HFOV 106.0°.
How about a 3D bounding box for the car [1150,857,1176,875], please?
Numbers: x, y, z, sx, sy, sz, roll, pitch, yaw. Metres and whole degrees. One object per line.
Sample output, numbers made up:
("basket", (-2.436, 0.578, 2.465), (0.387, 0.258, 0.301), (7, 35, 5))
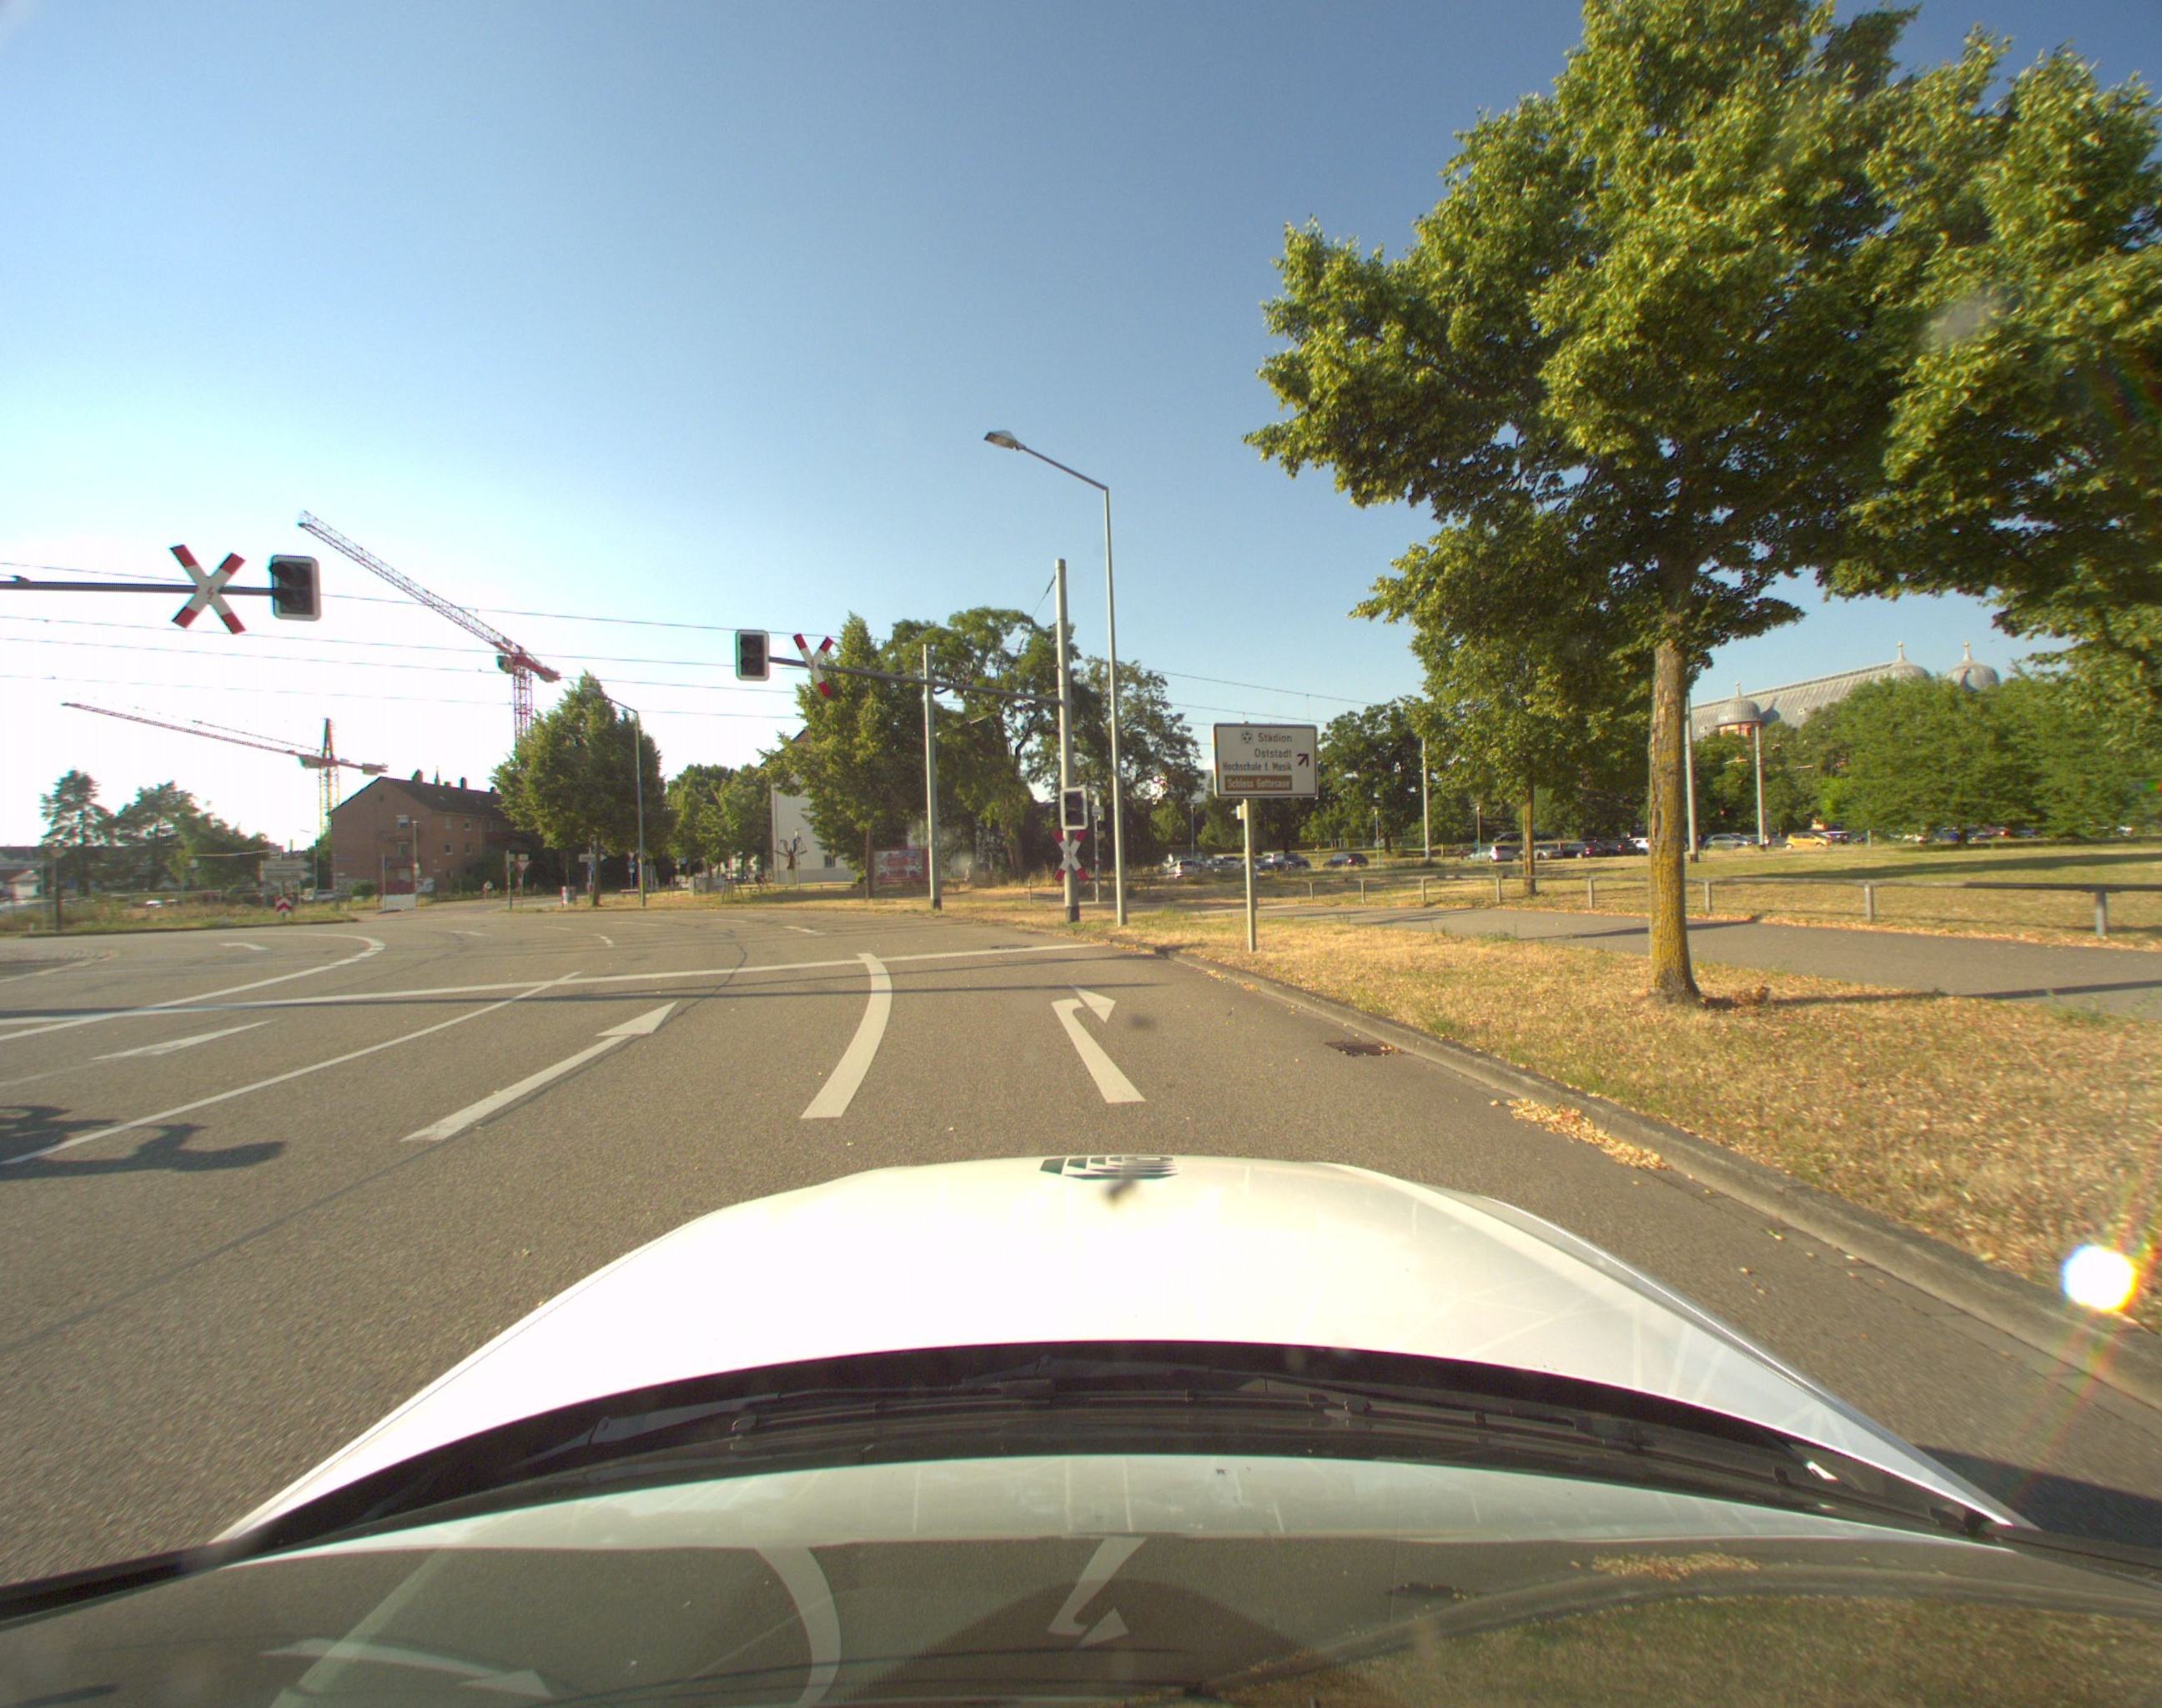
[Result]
("car", (7.153, 1.050, 71.245), (1.598, 1.402, 3.963), (-2, -1, -3))

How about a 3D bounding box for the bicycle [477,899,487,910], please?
("bicycle", (-54.129, 4.561, 73.603), (0.601, 0.963, 2.083), (-2, -1, -34))

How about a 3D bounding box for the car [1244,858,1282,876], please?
("car", (13.225, 0.964, 59.345), (1.598, 1.221, 3.963), (-2, -1, -3))

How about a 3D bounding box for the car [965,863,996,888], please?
("car", (-6.959, 1.474, 56.748), (1.767, 1.618, 3.963), (-2, -1, -3))

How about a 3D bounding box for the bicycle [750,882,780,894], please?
("bicycle", (-23.335, 2.508, 60.081), (2.003, 0.825, 0.425), (-2, 0, -38))

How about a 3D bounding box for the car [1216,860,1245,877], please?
("car", (13.175, 1.249, 71.845), (1.598, 1.402, 3.963), (-2, -1, -3))

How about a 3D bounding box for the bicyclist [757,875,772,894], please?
("bicyclist", (-23.350, 2.233, 60.135), (0.904, 1.396, 0.520), (-2, 0, -37))

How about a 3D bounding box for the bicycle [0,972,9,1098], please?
("bicycle", (-7.851, 1.280, 4.845), (0.476, 0.876, 1.855), (-2, 0, 0))

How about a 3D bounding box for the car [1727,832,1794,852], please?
("car", (55.517, -0.983, 66.602), (1.820, 1.403, 3.989), (-2, -1, -8))

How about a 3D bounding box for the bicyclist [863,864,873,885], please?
("bicyclist", (-15.964, 1.530, 61.002), (0.626, 1.511, 0.414), (-2, 0, -31))

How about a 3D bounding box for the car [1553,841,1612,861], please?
("car", (39.217, -0.201, 63.786), (1.820, 1.403, 3.989), (-2, -1, -8))

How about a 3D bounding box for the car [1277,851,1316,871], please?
("car", (15.885, 0.536, 60.099), (1.598, 1.402, 3.963), (-2, -1, -3))

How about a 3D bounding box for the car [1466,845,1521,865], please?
("car", (31.810, 0.084, 62.955), (1.820, 1.403, 3.989), (-2, -1, -8))

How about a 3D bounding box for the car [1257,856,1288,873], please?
("car", (17.268, 0.978, 73.526), (1.598, 1.402, 3.963), (-2, -1, -3))

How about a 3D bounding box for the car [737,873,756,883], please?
("car", (-52.566, 3.706, 128.035), (1.580, 1.442, 3.547), (-2, -1, -4))

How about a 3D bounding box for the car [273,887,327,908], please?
("car", (-83.215, 4.657, 86.813), (3.813, 2.014, 1.664), (-2, -1, -14))

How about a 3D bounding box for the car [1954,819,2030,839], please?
("car", (77.968, -2.127, 69.769), (1.820, 1.403, 3.989), (-2, -1, -8))

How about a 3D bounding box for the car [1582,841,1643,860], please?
("car", (41.731, -0.251, 64.023), (1.820, 1.403, 3.989), (-2, -1, -8))

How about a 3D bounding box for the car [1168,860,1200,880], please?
("car", (7.509, 1.159, 59.488), (1.598, 1.402, 3.963), (-2, -1, -3))

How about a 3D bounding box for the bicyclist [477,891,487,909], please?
("bicyclist", (-54.409, 4.187, 74.013), (0.662, 1.562, 0.885), (-2, -1, -33))

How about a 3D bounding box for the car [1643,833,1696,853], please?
("car", (56.129, -1.005, 77.745), (1.820, 1.672, 3.989), (-2, -1, -8))

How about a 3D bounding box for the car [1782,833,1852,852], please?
("car", (60.799, -0.955, 67.360), (1.820, 1.403, 3.989), (-2, -1, -8))

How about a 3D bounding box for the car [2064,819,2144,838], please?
("car", (89.846, -2.184, 71.578), (1.820, 1.403, 3.989), (-2, -1, -8))

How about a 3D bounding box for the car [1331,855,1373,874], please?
("car", (20.091, 0.779, 60.589), (1.598, 1.310, 3.963), (-2, -1, -3))

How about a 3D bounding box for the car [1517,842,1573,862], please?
("car", (36.556, -0.115, 64.266), (1.820, 1.403, 3.989), (-2, -1, -8))

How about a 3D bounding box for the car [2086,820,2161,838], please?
("car", (92.842, -2.224, 72.426), (1.820, 1.403, 3.989), (-2, -1, -8))

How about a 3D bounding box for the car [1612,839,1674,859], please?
("car", (44.682, -0.358, 64.844), (1.820, 1.403, 3.989), (-2, -1, -8))

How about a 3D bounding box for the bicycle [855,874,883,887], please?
("bicycle", (-15.896, 1.986, 61.026), (2.000, 0.918, 0.426), (-2, 0, -31))
